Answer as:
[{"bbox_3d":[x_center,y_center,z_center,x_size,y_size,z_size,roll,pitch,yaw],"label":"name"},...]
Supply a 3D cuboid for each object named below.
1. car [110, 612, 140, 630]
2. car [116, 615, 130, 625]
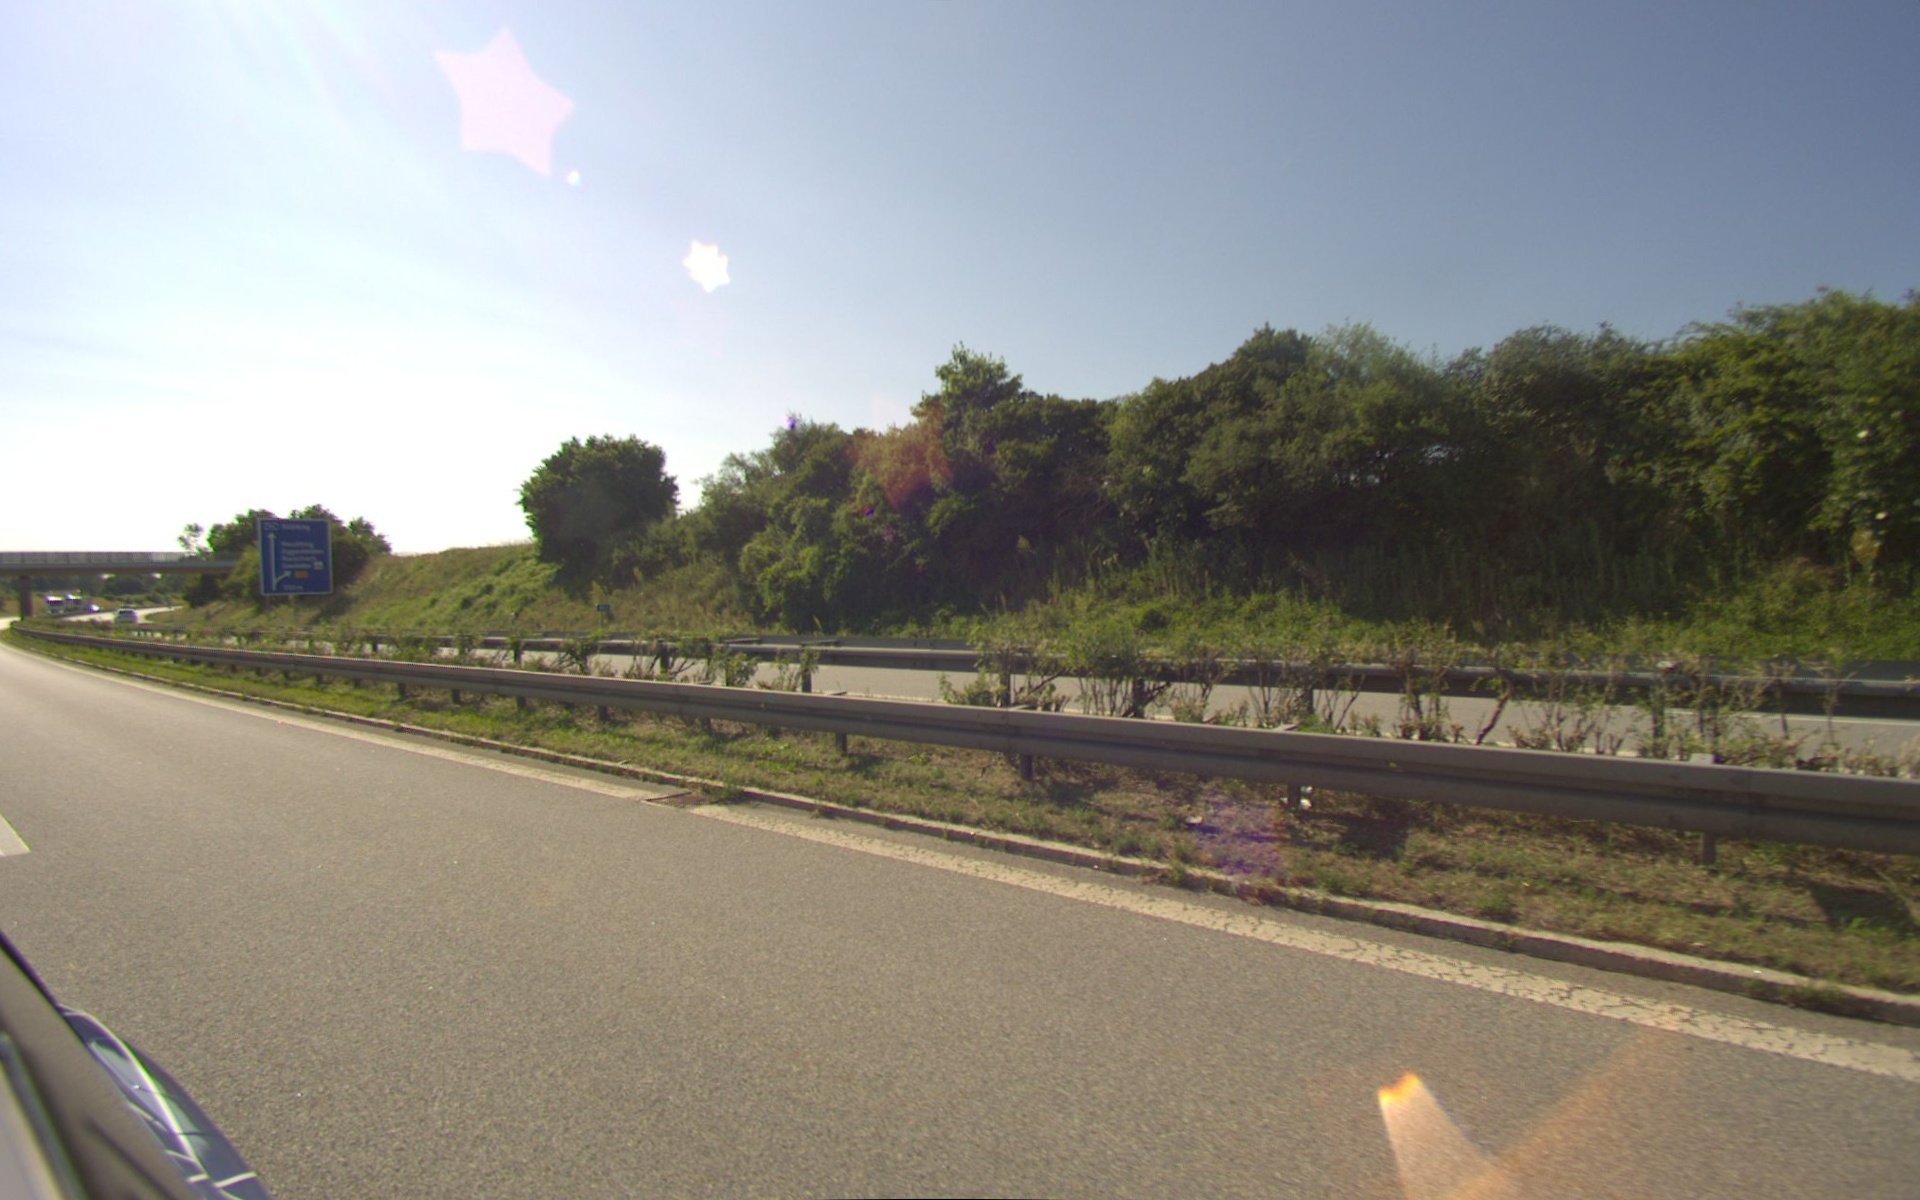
[{"bbox_3d":[-79.521,1.961,96.365,1.835,1.610,4.002,-1,0,-45],"label":"car"},{"bbox_3d":[-163.841,3.888,198.011,1.834,1.871,4.627,-1,0,-43],"label":"car"}]
